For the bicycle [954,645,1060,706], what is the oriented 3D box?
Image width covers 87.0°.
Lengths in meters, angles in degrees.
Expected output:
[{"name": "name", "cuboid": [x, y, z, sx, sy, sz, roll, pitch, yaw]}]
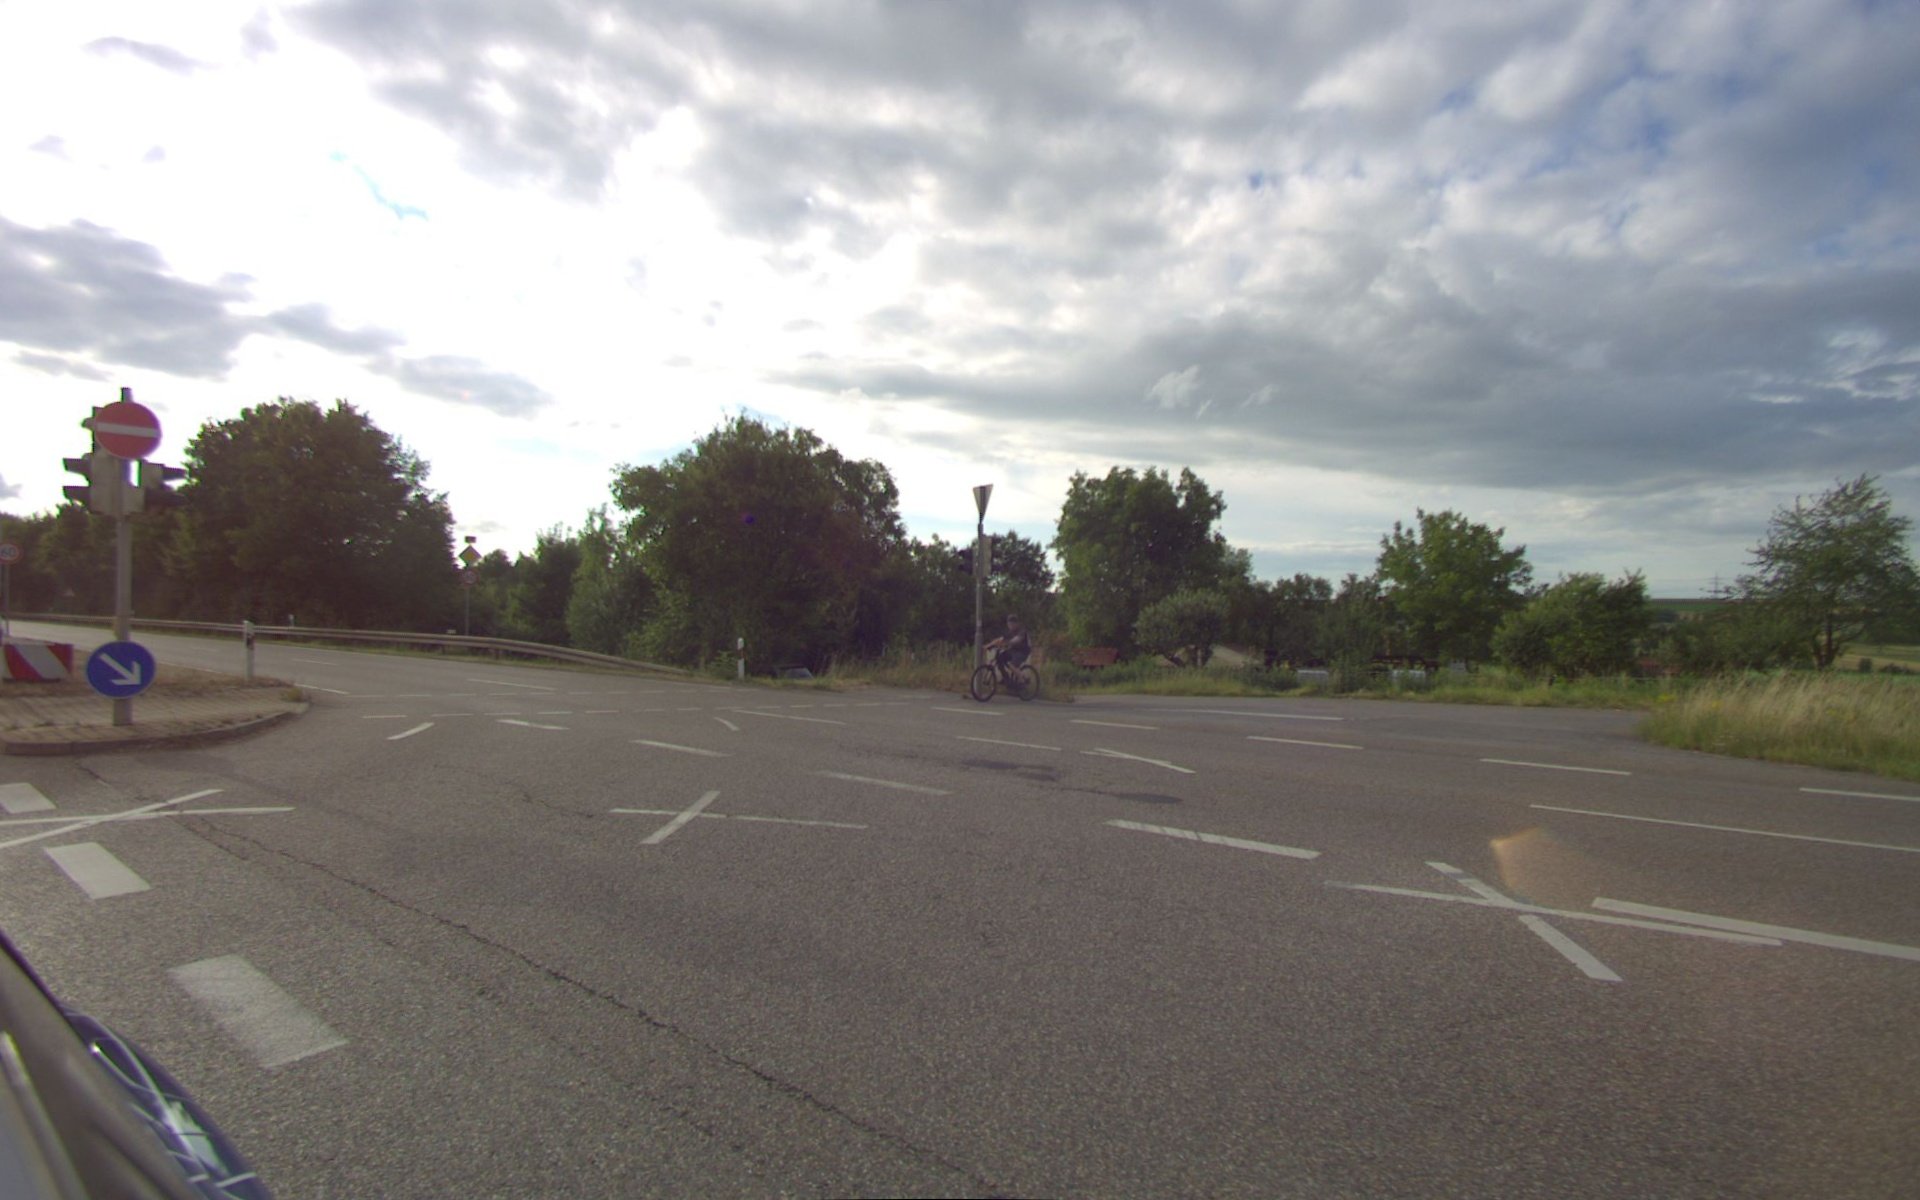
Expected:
[{"name": "bicycle", "cuboid": [0.980, 1.500, 20.592, 2.292, 1.146, 0.816, 2, -2, -44]}]

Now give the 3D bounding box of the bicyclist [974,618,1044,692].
[{"name": "bicyclist", "cuboid": [1.010, 1.105, 20.622, 1.208, 1.462, 0.816, 2, -2, -44]}]
